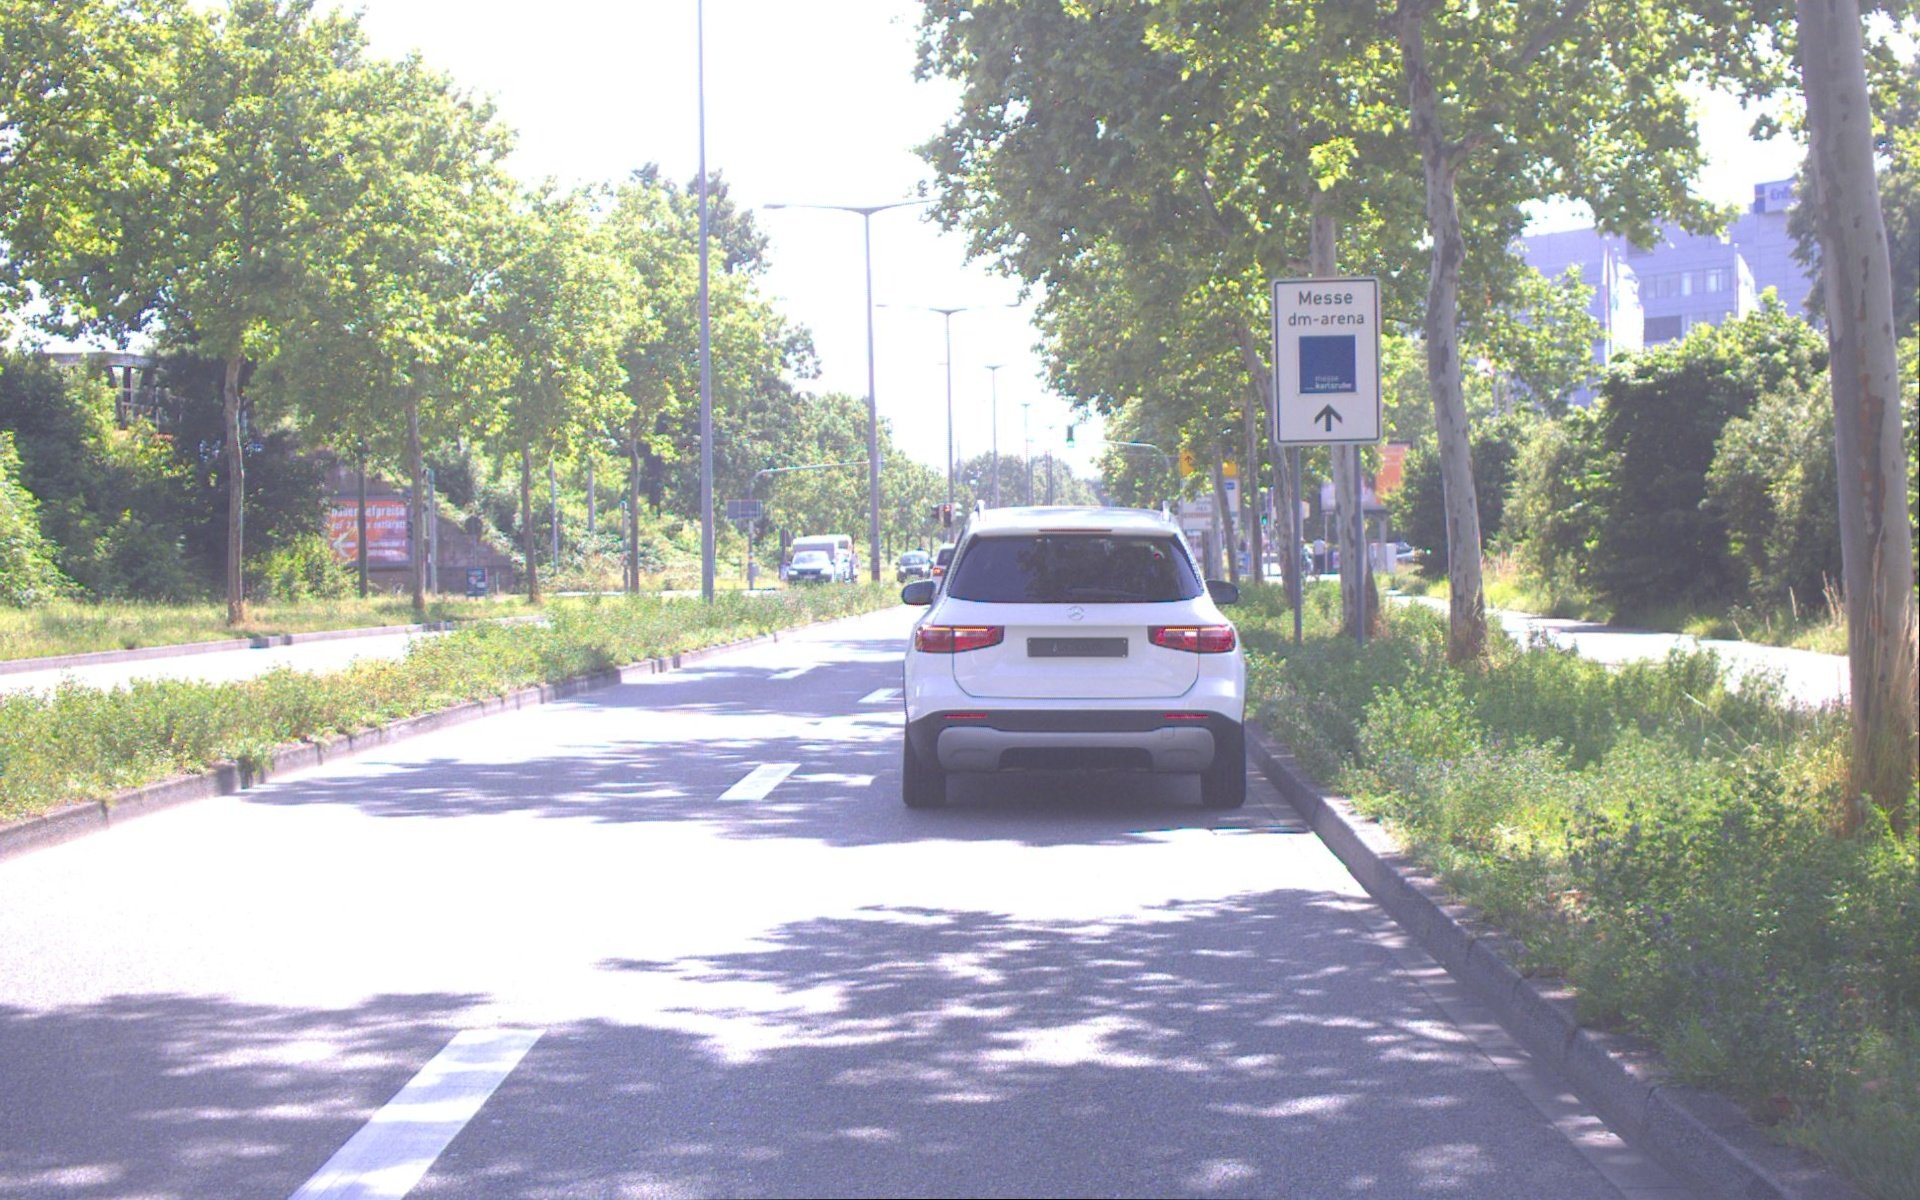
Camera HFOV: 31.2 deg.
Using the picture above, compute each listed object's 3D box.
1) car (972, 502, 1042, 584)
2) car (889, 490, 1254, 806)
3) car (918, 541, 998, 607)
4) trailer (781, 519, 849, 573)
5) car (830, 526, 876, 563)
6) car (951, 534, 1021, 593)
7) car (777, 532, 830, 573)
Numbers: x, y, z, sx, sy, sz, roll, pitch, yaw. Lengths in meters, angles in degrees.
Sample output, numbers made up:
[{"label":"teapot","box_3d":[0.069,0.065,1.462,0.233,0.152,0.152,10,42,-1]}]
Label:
[{"label":"car","box_3d":[1.586,-1.867,114.183,2.082,2.647,4.873,1,1,4]},{"label":"car","box_3d":[0.548,0.223,19.545,1.853,1.602,4.000,0,1,-1]},{"label":"car","box_3d":[-0.024,-0.673,87.362,1.771,1.641,4.351,0,1,4]},{"label":"trailer","box_3d":[-6.172,-2.303,147.260,2.309,2.257,5.537,-1,0,4]},{"label":"car","box_3d":[-5.336,-2.757,171.697,1.764,1.783,5.375,1,1,4]},{"label":"car","box_3d":[0.761,-1.040,98.299,1.771,1.641,4.084,0,1,4]},{"label":"car","box_3d":[-6.469,-1.958,142.307,1.715,1.616,4.360,-1,0,4]}]
